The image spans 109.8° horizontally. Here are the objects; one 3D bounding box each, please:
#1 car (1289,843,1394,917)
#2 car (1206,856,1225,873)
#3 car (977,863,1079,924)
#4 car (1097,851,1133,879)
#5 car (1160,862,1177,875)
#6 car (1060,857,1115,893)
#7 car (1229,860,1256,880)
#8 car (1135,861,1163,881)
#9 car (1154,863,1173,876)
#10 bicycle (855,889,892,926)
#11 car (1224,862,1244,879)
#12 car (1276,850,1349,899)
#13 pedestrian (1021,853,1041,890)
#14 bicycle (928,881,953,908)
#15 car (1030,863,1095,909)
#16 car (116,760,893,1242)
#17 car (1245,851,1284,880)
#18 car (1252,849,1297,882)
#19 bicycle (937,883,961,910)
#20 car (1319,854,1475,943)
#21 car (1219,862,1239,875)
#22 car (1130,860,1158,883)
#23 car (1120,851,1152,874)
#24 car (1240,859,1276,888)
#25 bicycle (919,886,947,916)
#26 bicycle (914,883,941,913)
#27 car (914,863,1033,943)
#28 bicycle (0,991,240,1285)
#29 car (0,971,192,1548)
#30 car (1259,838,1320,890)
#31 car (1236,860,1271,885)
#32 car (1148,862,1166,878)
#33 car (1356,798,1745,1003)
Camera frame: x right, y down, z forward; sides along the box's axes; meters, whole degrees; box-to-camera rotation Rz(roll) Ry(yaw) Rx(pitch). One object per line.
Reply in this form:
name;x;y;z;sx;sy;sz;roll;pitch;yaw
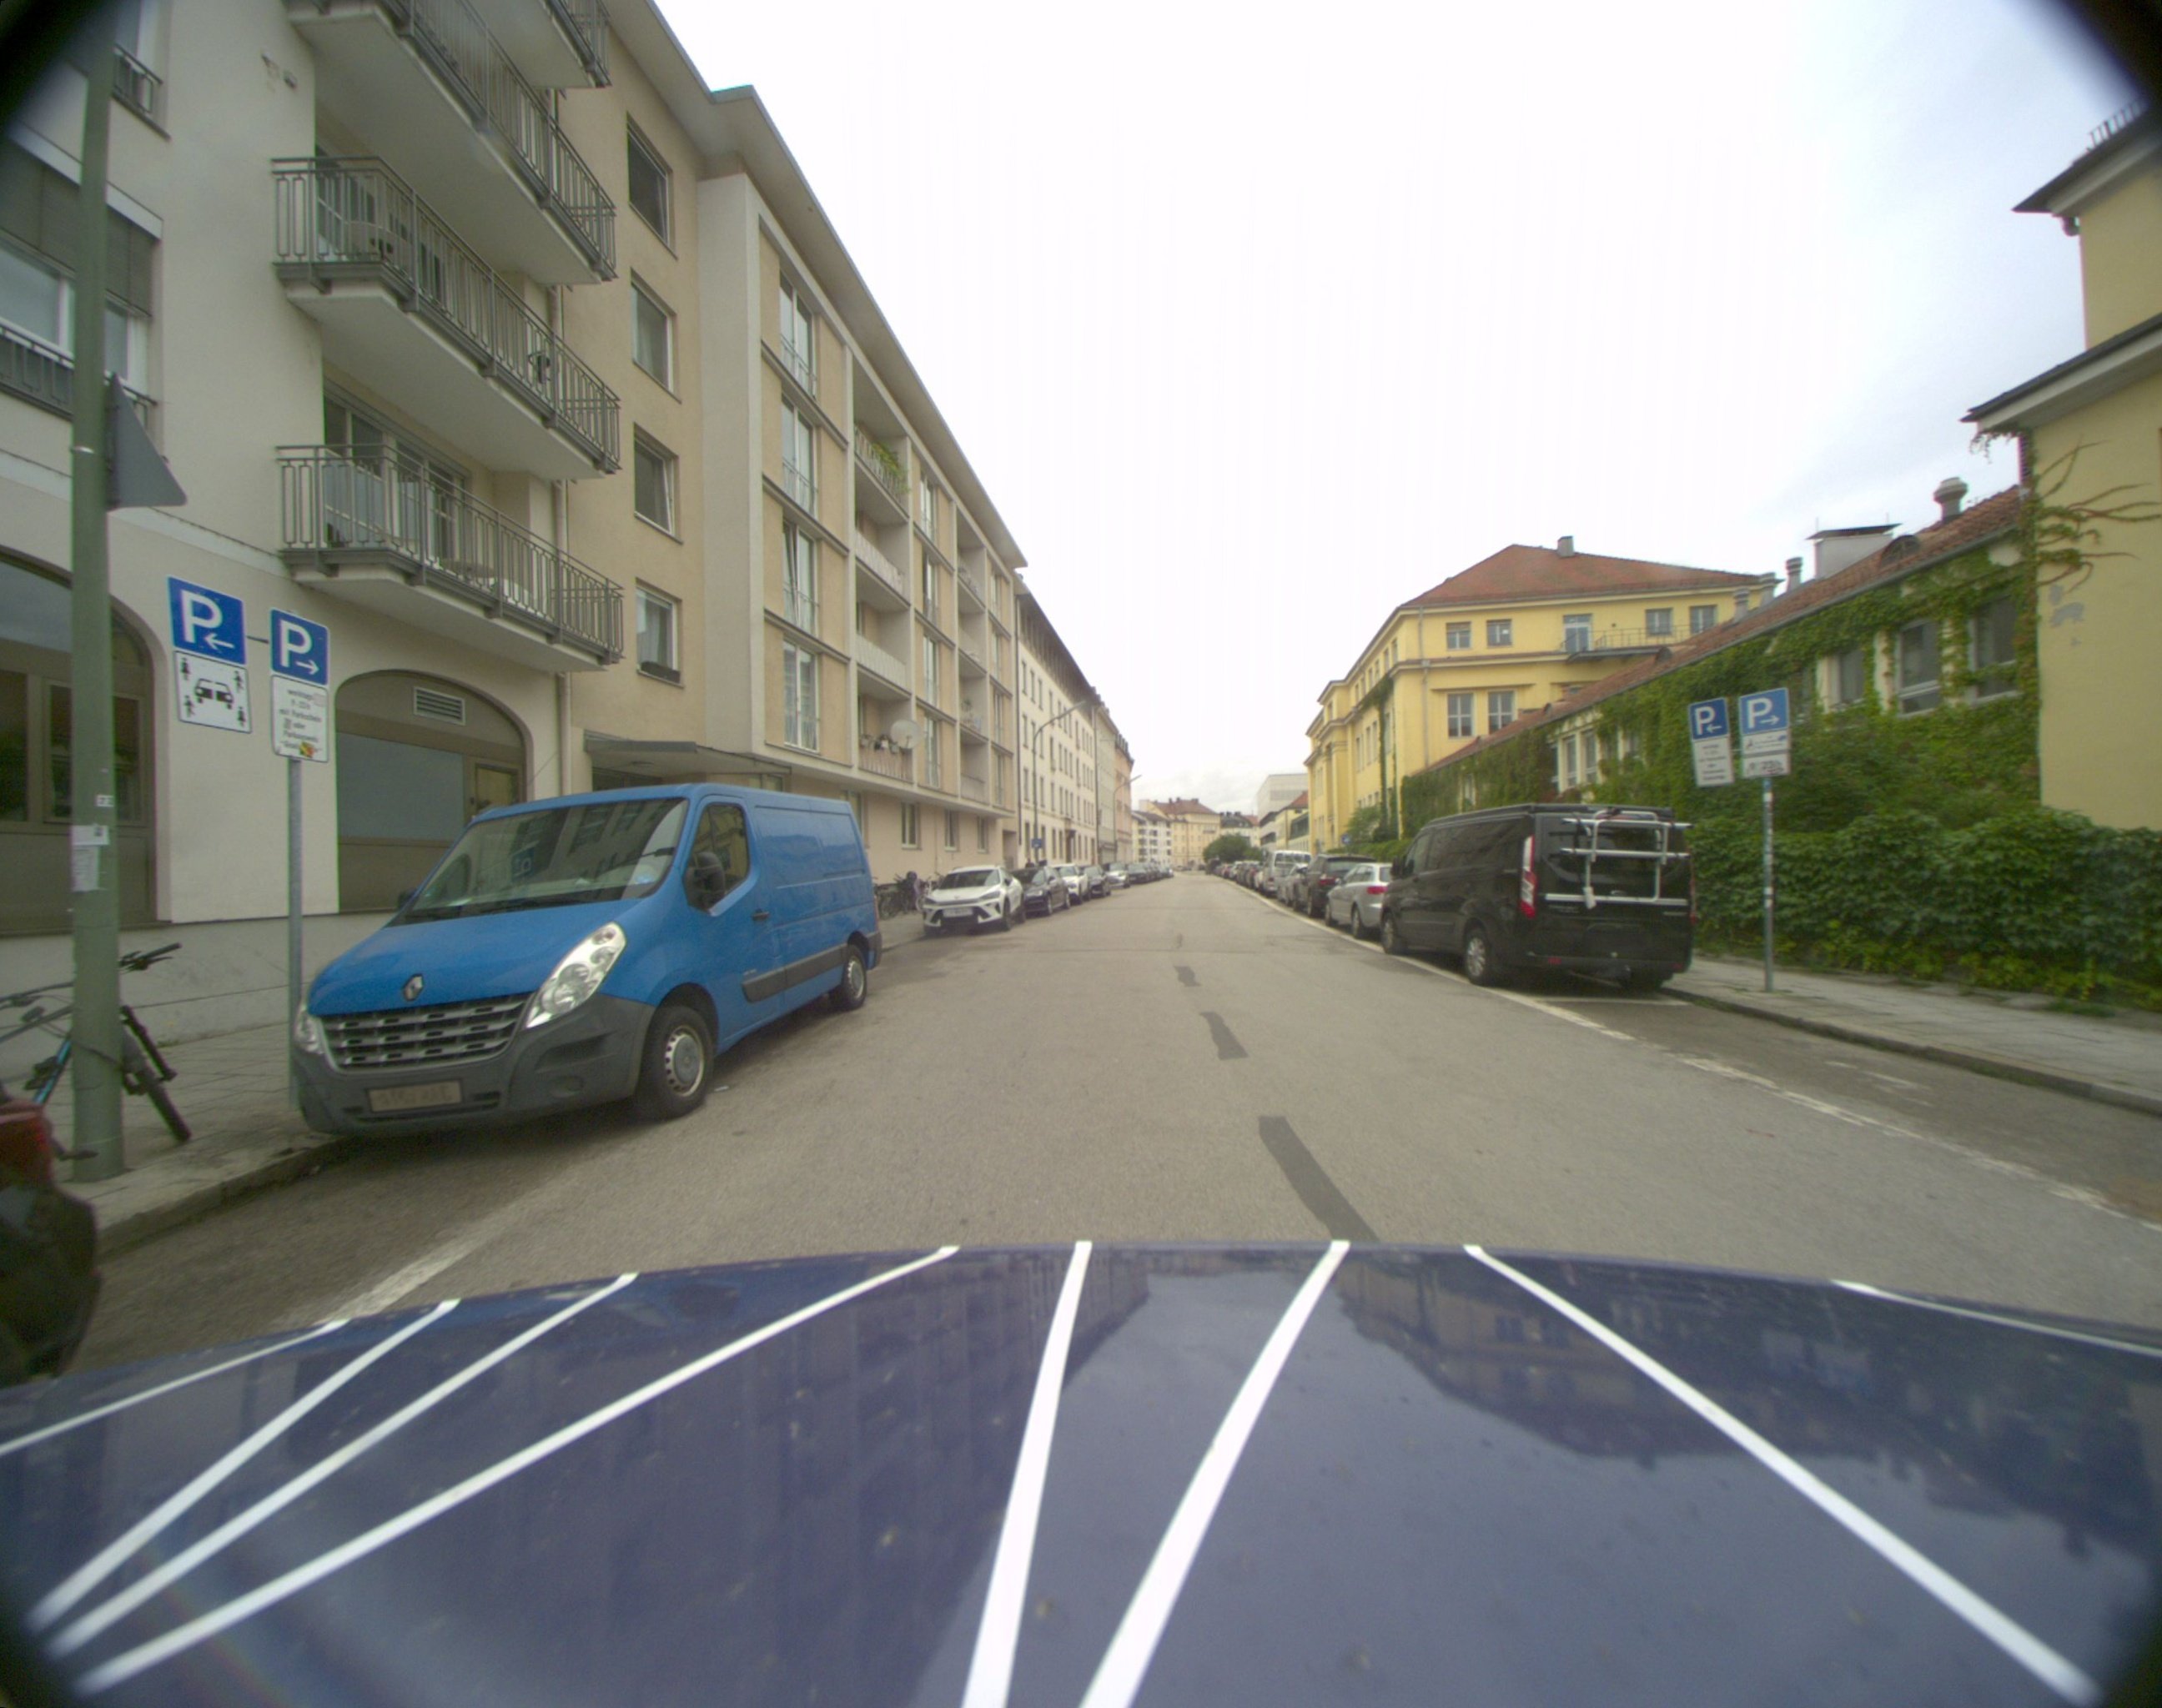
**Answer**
car;6.716;0.585;20.063;1.700;1.633;4.493;4;1;8
car;22.826;1.739;128.912;2.218;2.837;6.198;1;0;1
car;-1.463;1.120;23.275;1.883;1.513;5.167;-5;-1;9
car;1.995;0.615;43.772;1.653;1.486;2.883;-4;-1;10
car;11.431;1.912;99.432;1.685;1.663;3.805;-3;-1;2
car;0.359;0.860;33.092;1.748;1.380;4.957;-3;-1;7
car;13.710;1.348;64.628;1.749;1.624;4.859;0;0;7
car;5.779;1.384;63.872;1.843;1.513;4.713;-3;-1;11
car;9.114;1.690;83.788;1.690;1.393;4.368;-2;-1;11
bicycle;-5.595;1.423;20.535;0.378;0.899;1.393;-1;0;10
car;15.000;1.585;74.634;1.702;1.488;4.152;3;0;9
car;7.574;0.623;25.257;1.656;1.406;4.775;2;0;10
pedestrian;-2.469;0.830;37.370;0.724;1.753;0.905;-1;2;10
bicycle;-4.988;1.433;27.090;0.378;0.899;1.393;-1;0;10
car;-0.595;1.123;28.237;1.697;1.480;4.583;-3;-1;7
car;-3.492;0.684;6.351;2.084;2.221;5.244;-5;1;3
car;9.949;0.610;41.351;1.606;1.422;4.254;2;0;8
car;9.157;0.543;36.153;1.594;1.432;4.021;1;0;8
bicycle;-4.621;1.476;26.654;0.378;0.899;1.393;-1;0;10
car;5.999;0.759;15.018;1.697;1.385;4.504;3;0;8
car;18.061;1.802;92.897;1.961;1.473;4.532;2;0;7
car;4.941;1.329;59.072;1.648;1.579;4.638;-4;-1;10
car;3.949;0.585;53.903;1.806;1.475;5.324;-4;-1;9
car;10.744;1.146;46.370;1.727;1.620;4.469;1;0;8
bicycle;-4.695;1.481;24.135;0.378;0.899;1.393;0;0;10
bicycle;-5.087;1.457;25.309;0.378;0.899;1.393;-1;0;10
car;-2.372;1.040;18.017;1.789;1.524;4.650;-4;-1;4
bicycle;-5.268;1.391;3.662;0.622;1.139;1.875;1;-1;-12
car;-3.505;1.102;0.121;1.681;1.381;4.304;-5;0;-3
car;8.338;0.372;30.753;1.890;1.878;4.778;2;0;10
car;11.538;1.205;51.165;1.792;1.577;4.821;2;0;7
car;7.758;1.616;77.250;1.709;1.582;4.364;-2;-1;6
car;5.513;0.448;10.056;2.077;1.952;5.351;1;0;4
